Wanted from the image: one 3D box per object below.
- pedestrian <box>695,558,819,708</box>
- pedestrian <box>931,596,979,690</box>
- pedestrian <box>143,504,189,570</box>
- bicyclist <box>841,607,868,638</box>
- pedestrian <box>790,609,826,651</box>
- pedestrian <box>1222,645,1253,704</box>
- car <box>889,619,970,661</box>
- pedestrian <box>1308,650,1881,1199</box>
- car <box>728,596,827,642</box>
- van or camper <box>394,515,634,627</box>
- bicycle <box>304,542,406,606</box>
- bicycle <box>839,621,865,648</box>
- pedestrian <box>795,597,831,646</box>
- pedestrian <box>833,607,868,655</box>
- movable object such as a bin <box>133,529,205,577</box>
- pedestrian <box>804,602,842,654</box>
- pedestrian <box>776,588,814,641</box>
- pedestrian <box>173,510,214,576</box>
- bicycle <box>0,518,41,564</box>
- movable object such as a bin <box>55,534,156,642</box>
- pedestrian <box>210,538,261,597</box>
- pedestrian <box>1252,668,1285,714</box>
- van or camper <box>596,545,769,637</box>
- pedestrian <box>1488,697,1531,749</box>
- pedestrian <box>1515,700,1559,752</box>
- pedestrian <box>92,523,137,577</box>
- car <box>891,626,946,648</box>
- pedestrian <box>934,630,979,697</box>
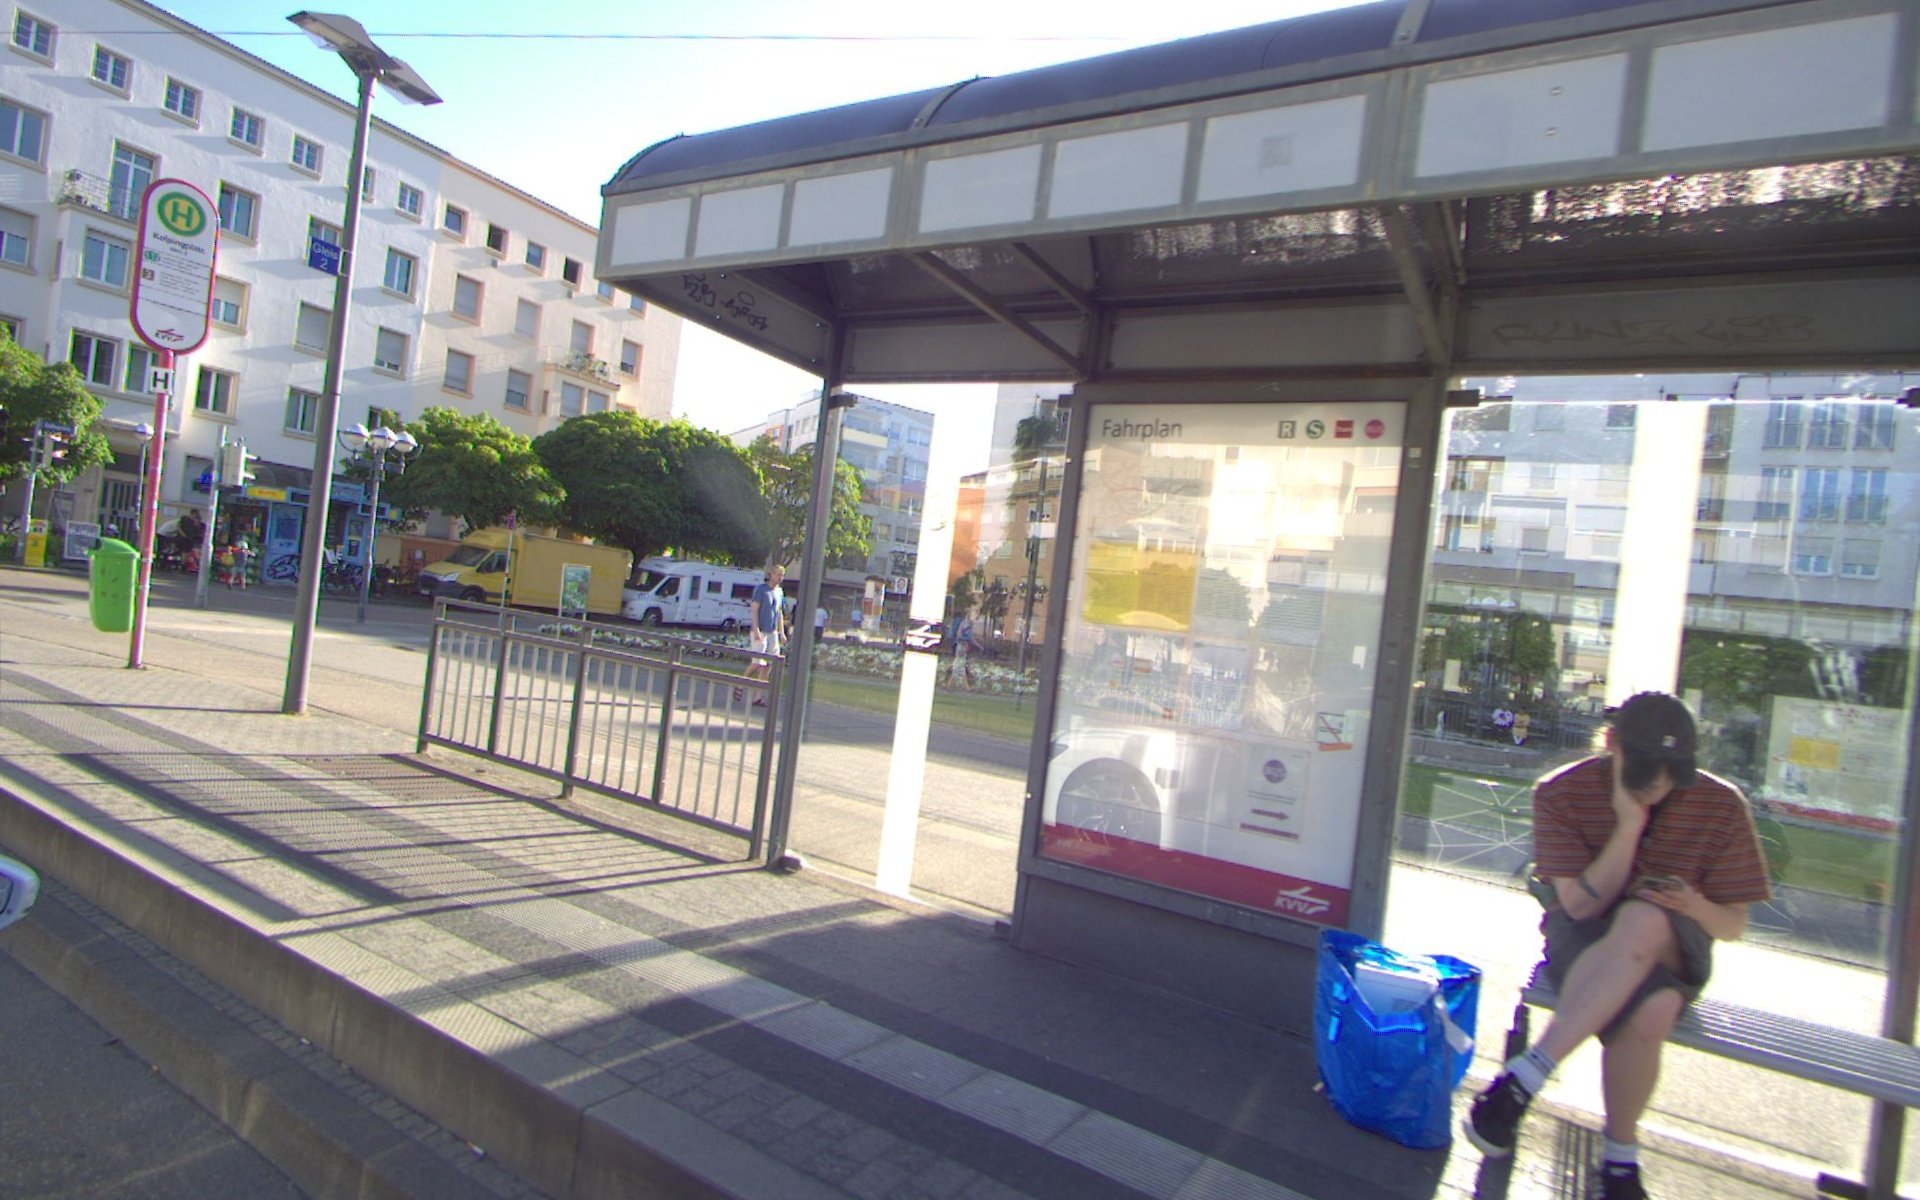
[{"bbox_3d":[-2.770,0.456,13.788,1.110,1.900,0.983,6,-1,29],"label":"pedestrian"},{"bbox_3d":[-0.096,0.852,19.930,0.520,1.765,0.557,6,-2,42],"label":"pedestrian"},{"bbox_3d":[-24.068,-1.897,30.497,0.667,1.861,0.785,7,0,35],"label":"pedestrian"},{"bbox_3d":[-4.747,1.021,45.169,0.939,1.239,0.931,9,-2,-14],"label":"bicyclist"},{"bbox_3d":[-5.081,0.998,33.695,0.595,1.295,0.902,7,-1,34],"label":"pedestrian"},{"bbox_3d":[8.721,2.327,31.668,0.661,1.745,1.028,7,0,11],"label":"pedestrian"},{"bbox_3d":[-1.303,1.804,44.416,1.964,1.503,4.000,7,-2,23],"label":"car"},{"bbox_3d":[1.522,0.839,2.535,0.908,1.238,1.001,6,-4,32],"label":"pedestrian"},{"bbox_3d":[-8.373,0.899,46.346,1.974,1.528,3.982,5,-3,43],"label":"car"},{"bbox_3d":[-14.884,-0.854,34.186,2.331,2.780,7.132,8,-1,32],"label":"van or camper"},{"bbox_3d":[-17.991,-0.752,29.980,0.714,1.548,2.391,7,-3,31],"label":"bicycle"},{"bbox_3d":[-4.857,1.522,45.204,0.710,1.073,2.318,8,-3,-14],"label":"bicycle"},{"bbox_3d":[-5.206,0.772,35.662,0.651,1.604,0.902,7,-1,35],"label":"pedestrian"},{"bbox_3d":[-3.866,1.097,35.563,0.651,1.604,0.902,7,-1,35],"label":"pedestrian"},{"bbox_3d":[-22.615,-1.341,28.765,1.197,1.167,1.200,6,-1,32],"label":"movable object such as a bin"},{"bbox_3d":[-4.526,0.931,33.202,0.651,1.604,0.902,7,-1,35],"label":"pedestrian"},{"bbox_3d":[-5.626,0.499,34.293,0.684,1.705,0.902,7,0,35],"label":"pedestrian"},{"bbox_3d":[-22.867,-1.698,30.005,0.649,1.861,0.653,7,0,35],"label":"pedestrian"},{"bbox_3d":[-26.168,-1.651,27.404,0.296,1.133,1.566,6,-2,42],"label":"bicycle"},{"bbox_3d":[-6.895,-0.093,8.120,0.481,0.795,0.449,6,-1,34],"label":"movable object such as a bin"},{"bbox_3d":[-19.624,-0.866,27.240,0.742,1.427,0.731,10,1,32],"label":"pedestrian"},{"bbox_3d":[9.611,2.820,31.365,0.718,1.287,1.042,7,-1,11],"label":"pedestrian"},{"bbox_3d":[-10.972,-0.278,40.338,2.340,2.873,6.411,7,-1,35],"label":"van or camper"},{"bbox_3d":[15.161,3.385,27.795,0.718,1.287,0.745,7,0,11],"label":"pedestrian"},{"bbox_3d":[15.865,3.454,27.671,0.718,1.287,0.745,7,0,11],"label":"pedestrian"},{"bbox_3d":[-22.509,-1.332,26.791,0.736,1.331,0.622,7,-1,-35],"label":"pedestrian"},{"bbox_3d":[-2.989,2.726,73.214,1.798,1.165,3.986,6,-2,38],"label":"car"},{"bbox_3d":[-0.064,1.203,19.005,0.550,1.182,0.469,5,-2,40],"label":"pedestrian"}]
